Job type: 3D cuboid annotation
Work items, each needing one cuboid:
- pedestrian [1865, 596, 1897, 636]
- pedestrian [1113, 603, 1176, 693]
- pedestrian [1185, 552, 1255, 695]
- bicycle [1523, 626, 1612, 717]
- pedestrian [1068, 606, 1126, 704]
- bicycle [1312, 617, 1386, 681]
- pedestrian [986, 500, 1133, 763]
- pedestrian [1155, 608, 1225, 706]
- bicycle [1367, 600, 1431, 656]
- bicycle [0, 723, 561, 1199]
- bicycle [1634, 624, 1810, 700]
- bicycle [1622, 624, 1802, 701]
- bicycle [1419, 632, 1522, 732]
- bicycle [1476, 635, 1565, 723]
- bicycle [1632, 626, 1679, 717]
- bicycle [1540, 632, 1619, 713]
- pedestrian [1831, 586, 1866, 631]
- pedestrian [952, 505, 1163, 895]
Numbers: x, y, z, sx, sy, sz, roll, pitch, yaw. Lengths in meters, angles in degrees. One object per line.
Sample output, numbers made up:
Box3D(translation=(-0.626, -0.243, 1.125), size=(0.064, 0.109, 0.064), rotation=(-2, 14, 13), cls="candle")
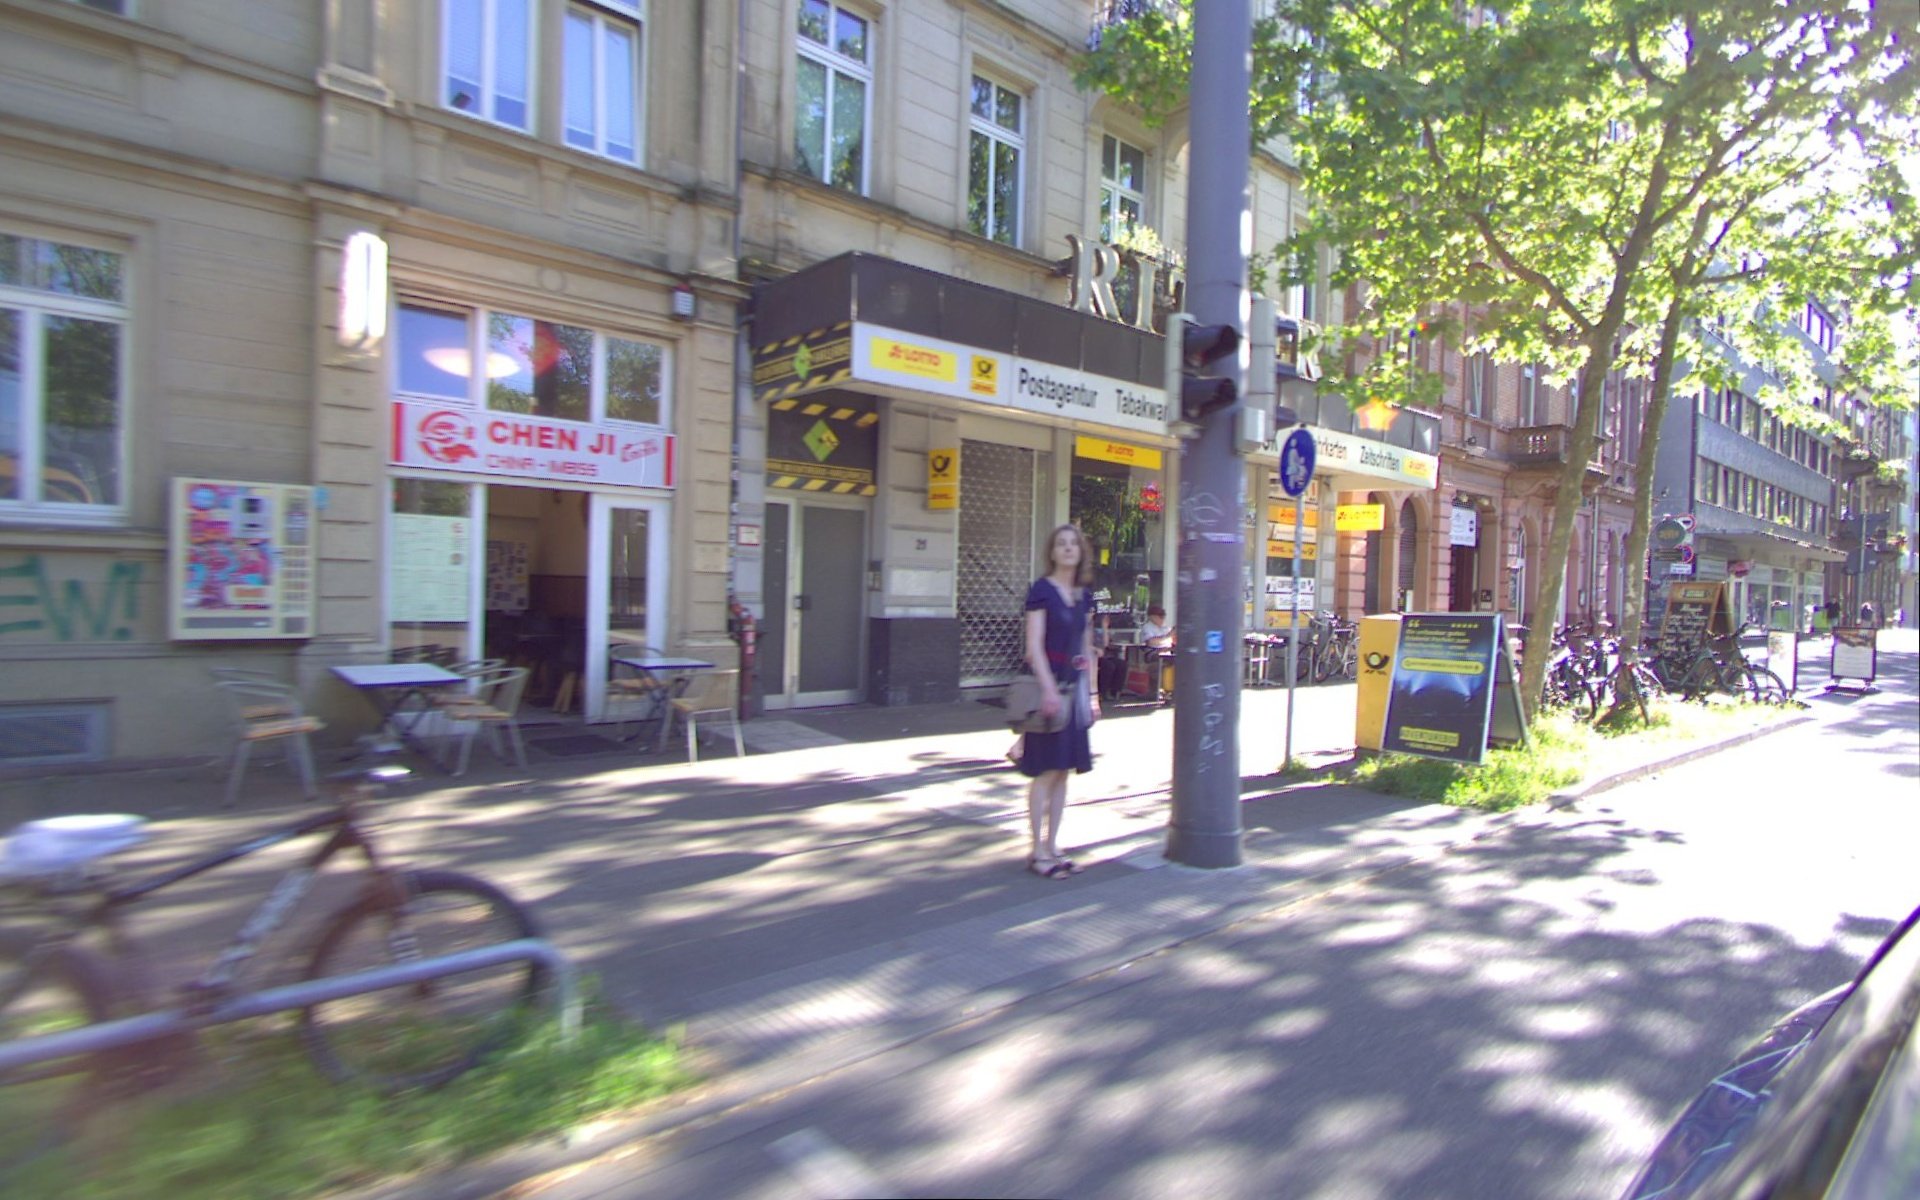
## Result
Box3D(translation=(42.052, 0.725, 46.208), size=(0.702, 1.783, 1.001), rotation=(1, -1, -40), cls="pedestrian")
Box3D(translation=(2.510, 0.638, 13.777), size=(0.644, 1.176, 0.602), rotation=(0, -1, 39), cls="pedestrian")
Box3D(translation=(3.399, 0.306, 13.258), size=(0.758, 1.834, 0.470), rotation=(1, -1, -9), cls="pedestrian")
Box3D(translation=(7.303, 0.826, 12.147), size=(1.659, 1.006, 0.443), rotation=(1, -1, -42), cls="bicycle")
Box3D(translation=(1.710, 0.669, 12.587), size=(0.643, 1.176, 0.671), rotation=(0, -1, 14), cls="pedestrian")
Box3D(translation=(6.468, 0.795, 16.804), size=(1.659, 1.006, 0.443), rotation=(1, -1, -42), cls="bicycle")
Box3D(translation=(0.826, 0.248, 8.465), size=(0.840, 2.039, 0.884), rotation=(1, -1, -37), cls="pedestrian")
Box3D(translation=(2.864, 0.691, 12.578), size=(0.766, 1.176, 0.465), rotation=(0, -1, 25), cls="pedestrian")
Box3D(translation=(8.209, 0.522, 18.893), size=(1.659, 1.006, 0.443), rotation=(1, -1, -42), cls="bicycle")
Box3D(translation=(-1.957, 0.877, 2.549), size=(1.719, 0.982, 0.428), rotation=(1, -1, -41), cls="bicycle")
Box3D(translation=(11.033, 0.866, 14.724), size=(0.436, 1.006, 2.006), rotation=(1, -1, -42), cls="bicycle")
Box3D(translation=(10.660, 0.856, 14.418), size=(0.436, 1.006, 2.016), rotation=(1, -1, -42), cls="bicycle")
Box3D(translation=(5.650, 0.872, 11.165), size=(1.659, 1.006, 0.443), rotation=(1, -1, -42), cls="bicycle")
Box3D(translation=(6.953, 0.945, 12.524), size=(1.659, 1.006, 0.443), rotation=(1, -1, -42), cls="bicycle")
Box3D(translation=(8.474, 0.834, 12.330), size=(0.441, 1.006, 1.667), rotation=(0, -1, 35), cls="bicycle")
Box3D(translation=(8.347, 0.942, 13.608), size=(1.659, 1.006, 0.443), rotation=(1, -1, -42), cls="bicycle")
Box3D(translation=(37.876, 0.350, 43.144), size=(0.702, 1.863, 1.002), rotation=(1, 0, -38), cls="pedestrian")
Box3D(translation=(0.498, 0.463, 5.175), size=(0.852, 1.794, 0.644), rotation=(1, -1, -34), cls="pedestrian")
